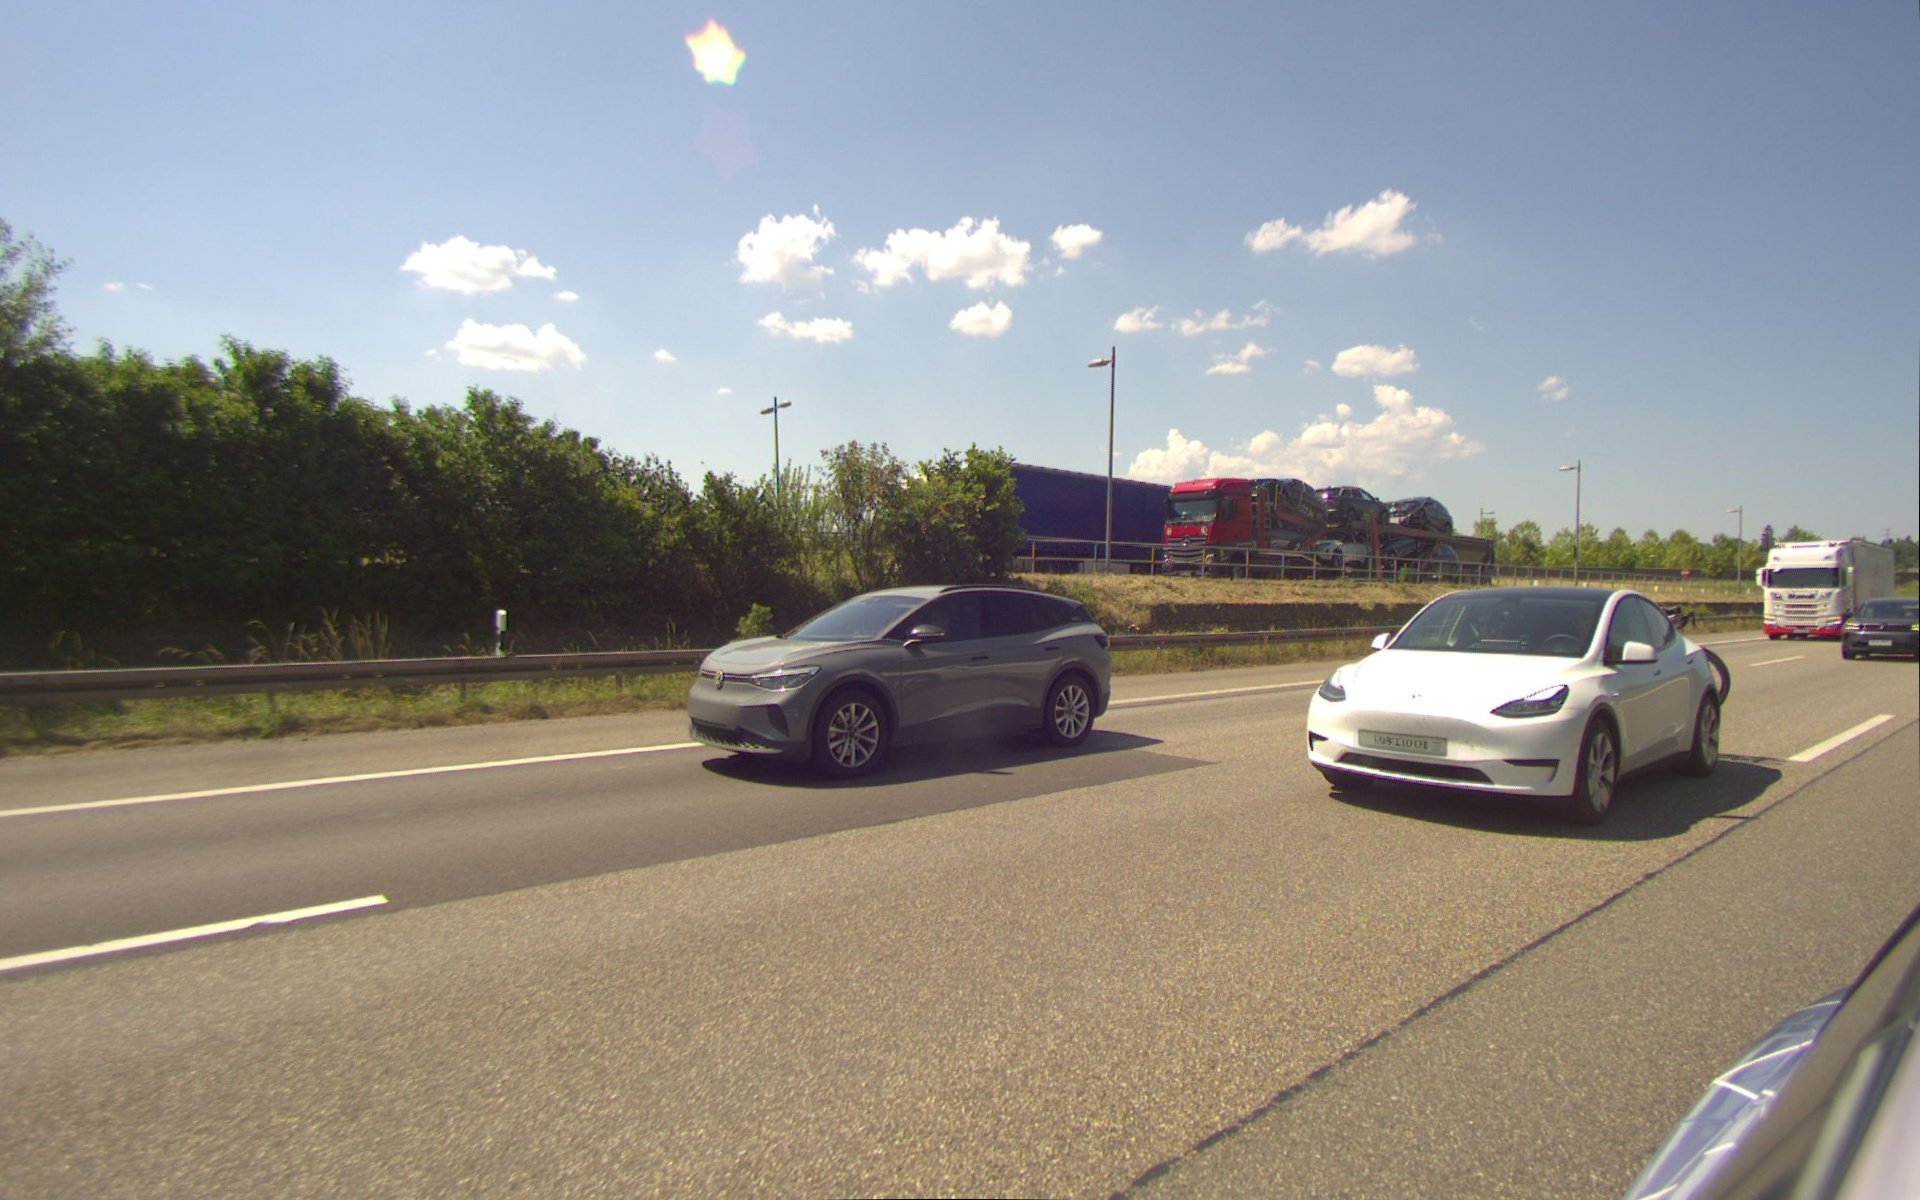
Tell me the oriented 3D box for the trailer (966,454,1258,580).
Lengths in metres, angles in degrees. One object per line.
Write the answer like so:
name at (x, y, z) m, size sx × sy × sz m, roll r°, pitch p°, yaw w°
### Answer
trailer at (6.448, -2.885, 39.606) m, size 14.012 × 4.135 × 3.057 m, roll -1°, pitch 0°, yaw -42°

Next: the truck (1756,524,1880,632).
truck at (33.472, -0.824, 39.460) m, size 3.779 × 3.957 × 3.074 m, roll 0°, pitch 0°, yaw -40°

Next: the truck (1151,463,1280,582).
truck at (9.063, -2.613, 35.791) m, size 3.930 × 3.875 × 2.607 m, roll -1°, pitch 0°, yaw -41°

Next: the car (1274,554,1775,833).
car at (5.039, 0.524, 8.564) m, size 5.503 × 1.657 × 1.953 m, roll -1°, pitch 0°, yaw -41°

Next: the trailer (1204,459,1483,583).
trailer at (16.770, -2.904, 42.430) m, size 18.099 × 4.311 × 2.610 m, roll -1°, pitch 0°, yaw -41°

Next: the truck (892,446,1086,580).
truck at (1.087, -2.787, 34.790) m, size 6.288 × 4.135 × 3.057 m, roll -1°, pitch 0°, yaw -42°

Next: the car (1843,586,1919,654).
car at (24.867, 0.468, 26.494) m, size 3.974 × 1.667 × 1.955 m, roll -1°, pitch 0°, yaw -39°

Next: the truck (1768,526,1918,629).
truck at (38.496, -0.919, 43.890) m, size 12.283 × 3.957 × 3.074 m, roll -1°, pitch 0°, yaw -40°

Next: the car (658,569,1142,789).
car at (-0.402, 0.569, 9.843) m, size 4.506 × 1.657 × 1.871 m, roll -1°, pitch 0°, yaw -41°

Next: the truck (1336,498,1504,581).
truck at (25.953, -3.146, 56.621) m, size 12.302 × 4.135 × 3.794 m, roll -1°, pitch 0°, yaw -41°
